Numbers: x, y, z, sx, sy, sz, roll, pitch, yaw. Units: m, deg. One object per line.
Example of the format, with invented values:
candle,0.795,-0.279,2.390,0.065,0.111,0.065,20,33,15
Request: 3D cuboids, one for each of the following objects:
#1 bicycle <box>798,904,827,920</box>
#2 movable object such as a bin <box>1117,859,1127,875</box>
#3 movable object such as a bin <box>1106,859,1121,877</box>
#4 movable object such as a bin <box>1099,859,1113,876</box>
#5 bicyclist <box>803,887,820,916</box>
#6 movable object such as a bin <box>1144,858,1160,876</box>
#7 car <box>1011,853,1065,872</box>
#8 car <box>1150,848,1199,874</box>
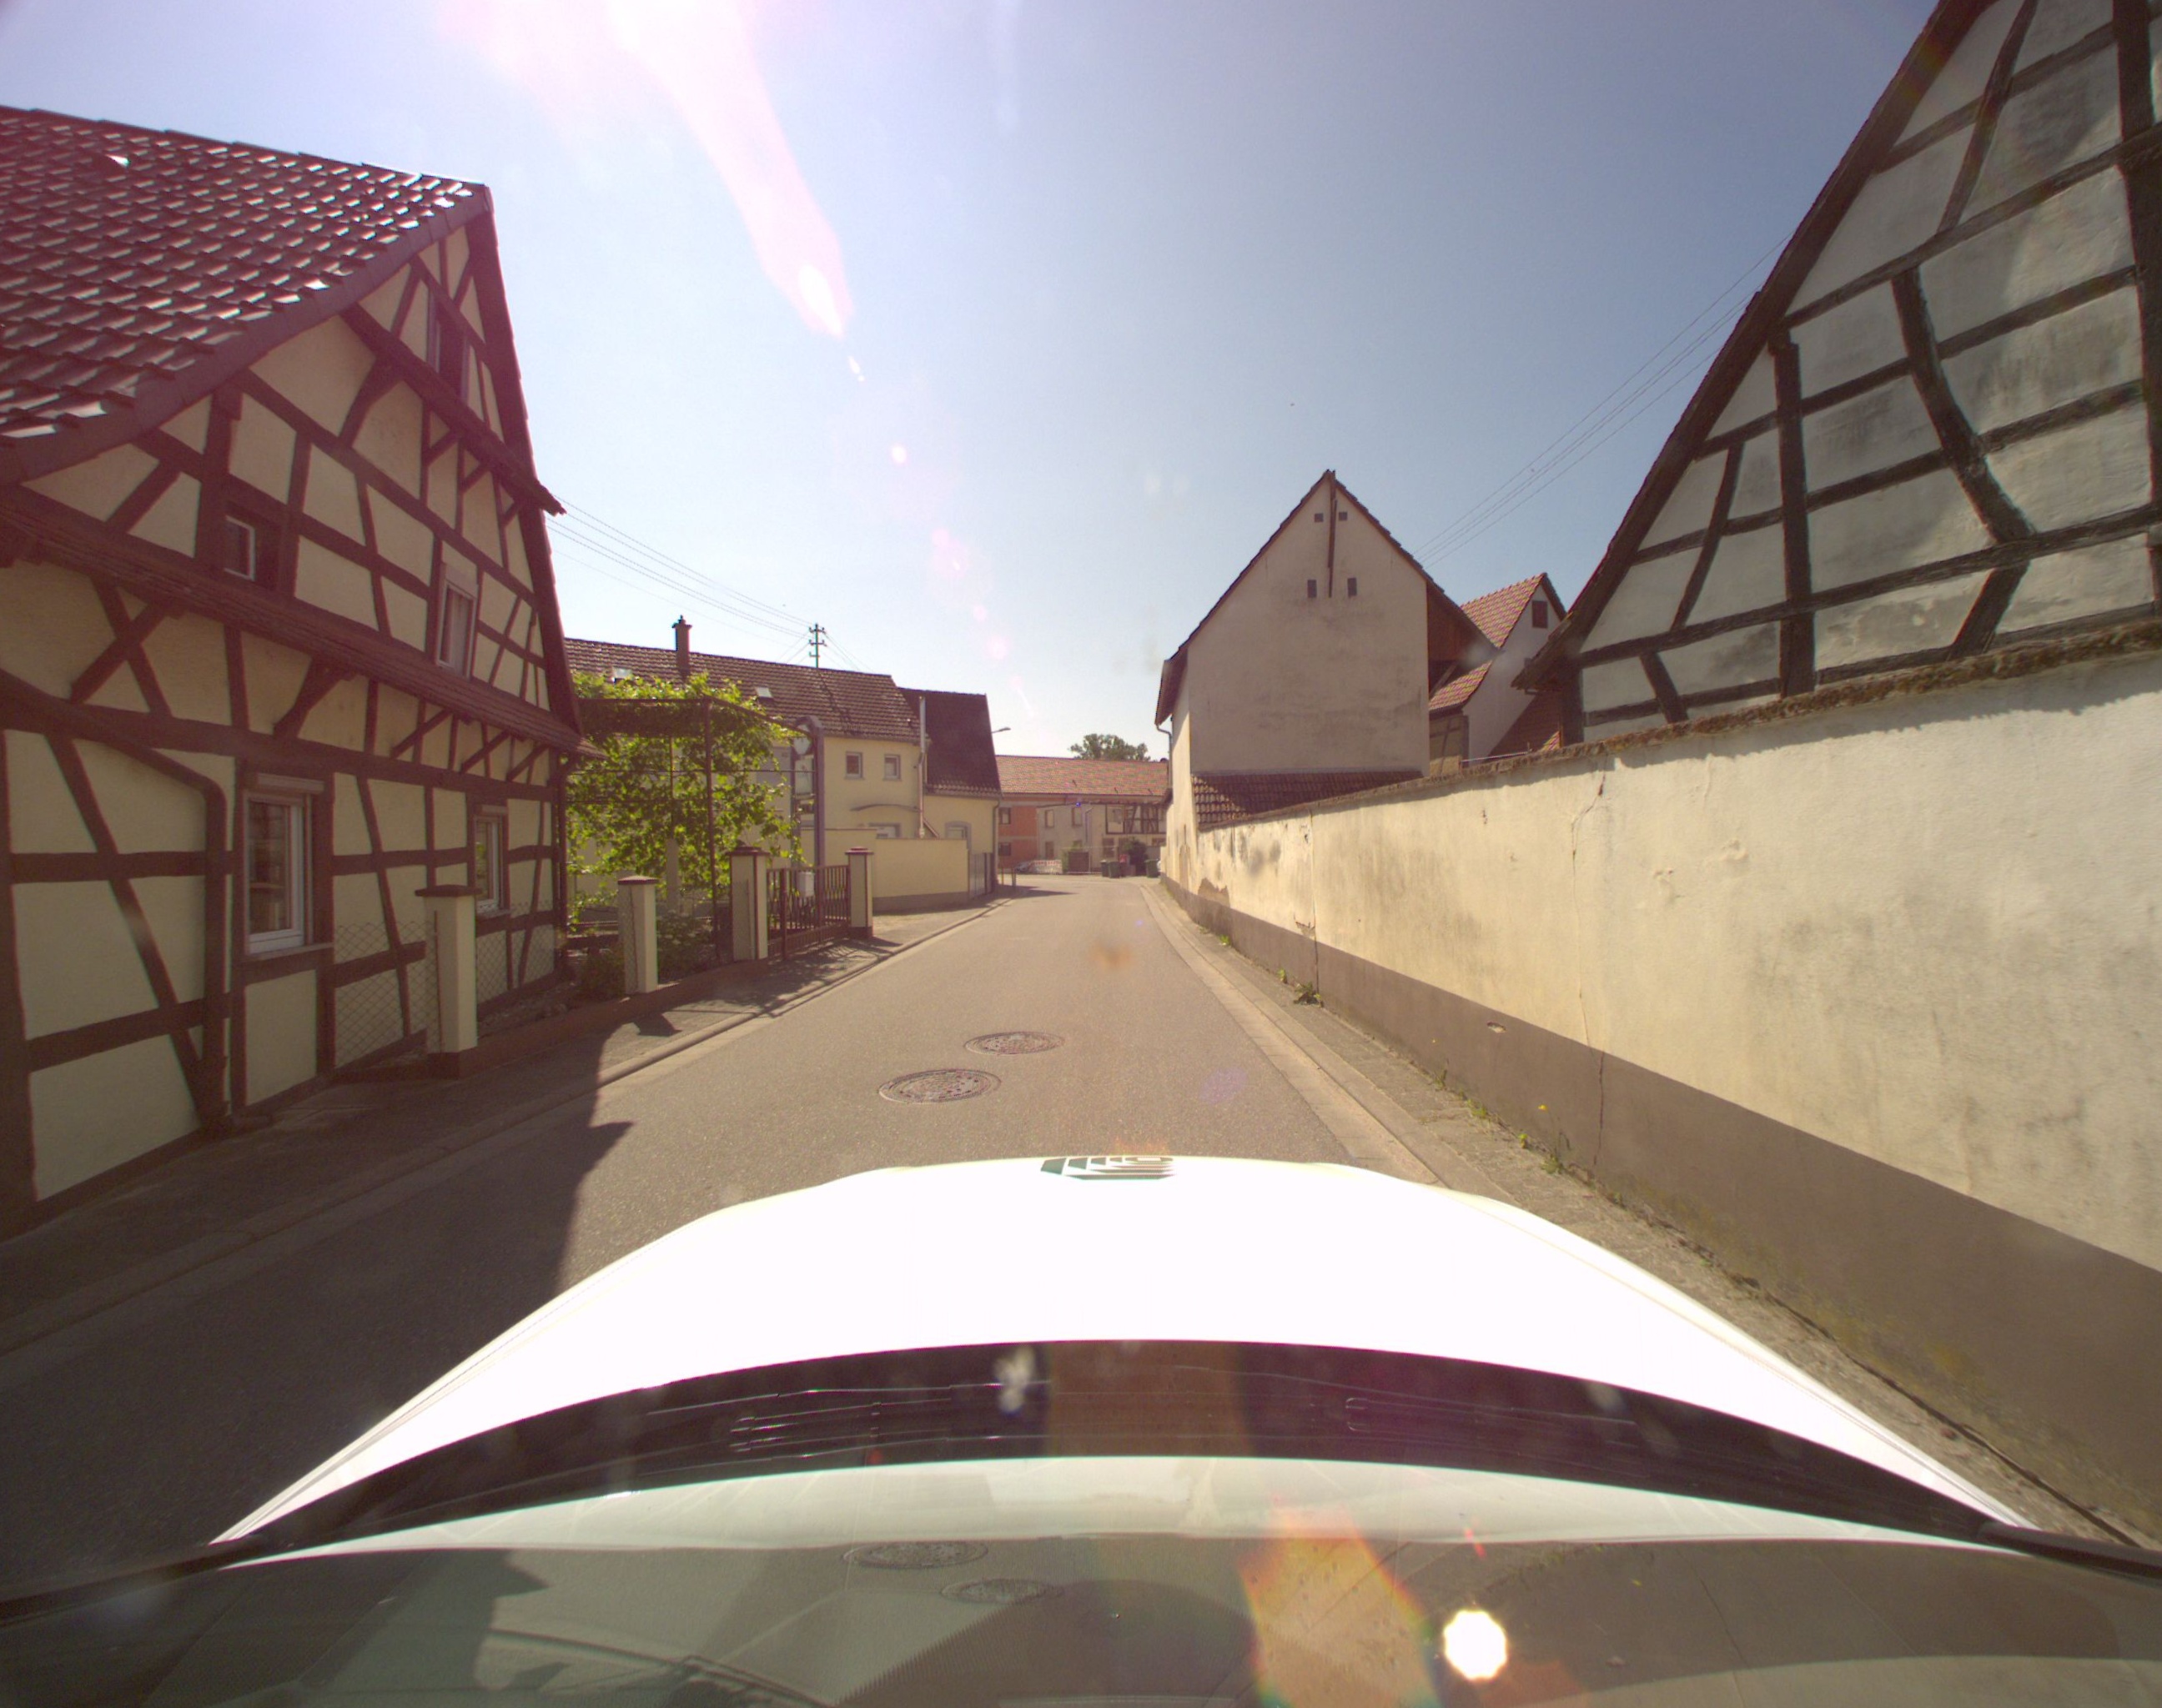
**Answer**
bicycle,-5.420,1.173,16.429,0.529,0.305,0.221,-1,-1,17
movable object such as a bin,2.619,0.818,51.907,0.466,0.970,0.493,-1,0,-21
movable object such as a bin,2.027,0.834,50.512,0.689,1.092,0.633,-1,0,-20
movable object such as a bin,1.623,0.863,52.794,0.664,1.072,0.766,-1,0,29
bicyclist,-5.450,0.960,16.447,0.244,0.582,0.219,-1,-1,17
movable object such as a bin,4.312,0.791,49.366,0.723,1.081,0.749,-1,0,-23
car,-3.631,0.711,68.967,4.118,1.507,1.850,-2,0,-34
car,5.950,0.444,52.265,1.812,1.528,4.278,-2,0,-13
